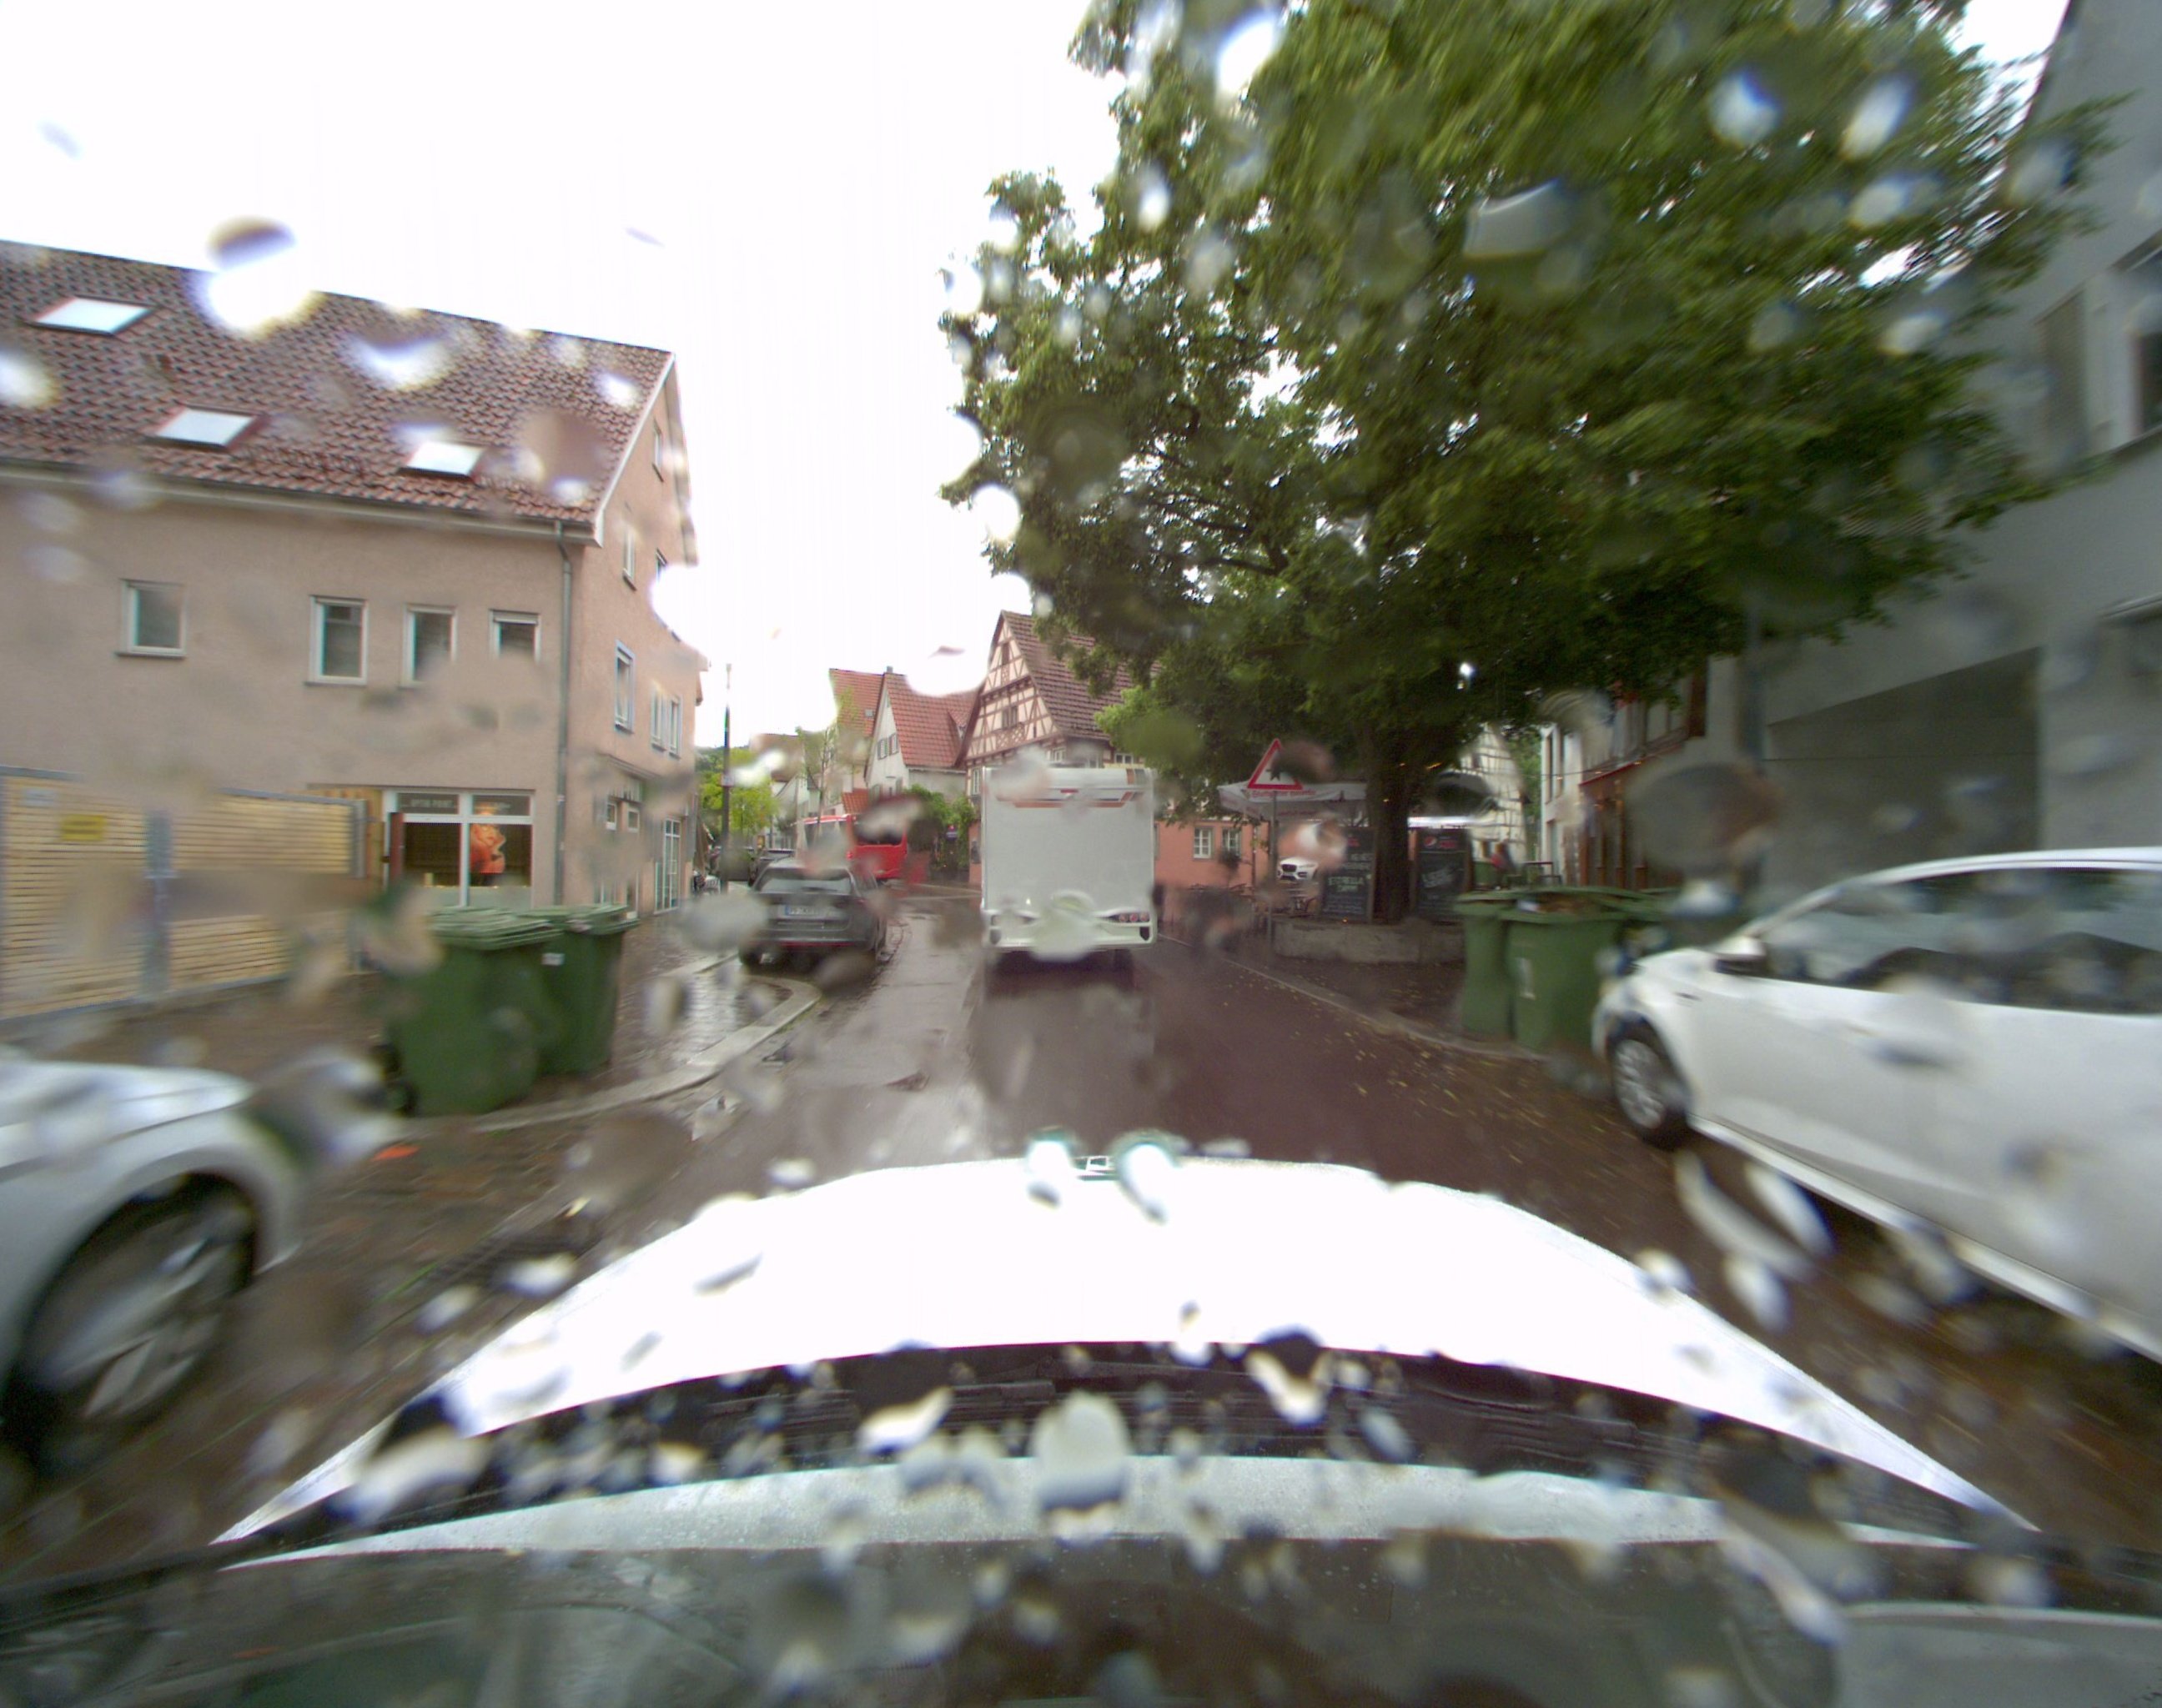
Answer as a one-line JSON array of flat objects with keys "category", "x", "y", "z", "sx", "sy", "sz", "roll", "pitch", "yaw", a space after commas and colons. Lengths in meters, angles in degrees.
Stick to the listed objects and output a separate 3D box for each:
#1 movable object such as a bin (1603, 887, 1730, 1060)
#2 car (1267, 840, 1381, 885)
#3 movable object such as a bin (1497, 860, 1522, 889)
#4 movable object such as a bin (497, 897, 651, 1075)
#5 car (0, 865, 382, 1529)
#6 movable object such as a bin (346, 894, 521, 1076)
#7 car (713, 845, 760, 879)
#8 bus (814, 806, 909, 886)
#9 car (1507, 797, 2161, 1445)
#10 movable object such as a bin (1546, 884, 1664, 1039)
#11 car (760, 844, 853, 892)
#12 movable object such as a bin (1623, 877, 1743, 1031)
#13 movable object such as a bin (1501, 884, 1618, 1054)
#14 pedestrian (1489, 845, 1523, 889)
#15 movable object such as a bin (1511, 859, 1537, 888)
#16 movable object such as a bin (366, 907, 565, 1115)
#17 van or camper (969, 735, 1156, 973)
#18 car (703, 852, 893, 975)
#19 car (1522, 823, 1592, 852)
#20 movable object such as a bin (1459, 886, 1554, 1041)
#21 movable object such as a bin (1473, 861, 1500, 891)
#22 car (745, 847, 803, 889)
[{"category": "movable object such as a bin", "x": 4.146, "y": 0.819, "z": 5.793, "sx": 0.529, "sy": 1.149, "sz": 0.500, "roll": 0, "pitch": -1, "yaw": -4}, {"category": "car", "x": 9.881, "y": 0.308, "z": 33.041, "sx": 4.482, "sy": 1.631, "sz": 1.926, "roll": 0, "pitch": 2, "yaw": -32}, {"category": "movable object such as a bin", "x": 16.171, "y": 0.773, "z": 30.731, "sx": 0.658, "sy": 1.093, "sz": 0.600, "roll": 0, "pitch": -1, "yaw": -31}, {"category": "movable object such as a bin", "x": -3.430, "y": 0.865, "z": 5.558, "sx": 0.657, "sy": 1.109, "sz": 0.623, "roll": 0, "pitch": -1, "yaw": -3}, {"category": "car", "x": -3.117, "y": 0.761, "z": 0.855, "sx": 1.687, "sy": 1.423, "sz": 3.810, "roll": 0, "pitch": 0, "yaw": -5}, {"category": "movable object such as a bin", "x": -4.289, "y": 0.838, "z": 5.441, "sx": 0.657, "sy": 1.109, "sz": 0.623, "roll": 0, "pitch": -1, "yaw": -3}, {"category": "car", "x": -17.792, "y": 0.432, "z": 41.972, "sx": 1.782, "sy": 1.675, "sz": 4.438, "roll": 2, "pitch": -2, "yaw": -28}, {"category": "bus", "x": -9.836, "y": -0.277, "z": 36.022, "sx": 2.656, "sy": 3.227, "sz": 6.541, "roll": 0, "pitch": -1, "yaw": -28}, {"category": "car", "x": 3.503, "y": 0.642, "z": 3.151, "sx": 1.682, "sy": 1.539, "sz": 4.408, "roll": 0, "pitch": -1, "yaw": 4}, {"category": "movable object such as a bin", "x": 4.155, "y": 0.827, "z": 6.487, "sx": 0.543, "sy": 1.149, "sz": 0.585, "roll": 0, "pitch": -1, "yaw": -4}, {"category": "car", "x": -9.463, "y": 0.450, "z": 27.819, "sx": 1.814, "sy": 1.433, "sz": 4.579, "roll": 3, "pitch": -1, "yaw": -34}, {"category": "movable object such as a bin", "x": 4.775, "y": 0.767, "z": 6.484, "sx": 0.502, "sy": 1.149, "sz": 0.580, "roll": 0, "pitch": -1, "yaw": -4}, {"category": "movable object such as a bin", "x": 3.429, "y": 0.798, "z": 5.865, "sx": 0.532, "sy": 1.149, "sz": 0.500, "roll": 0, "pitch": -1, "yaw": -4}, {"category": "pedestrian", "x": 14.754, "y": 0.452, "z": 28.297, "sx": 0.846, "sy": 1.518, "sz": 0.752, "roll": 0, "pitch": -1, "yaw": -38}, {"category": "movable object such as a bin", "x": 16.895, "y": 0.744, "z": 31.065, "sx": 0.658, "sy": 1.093, "sz": 0.600, "roll": 0, "pitch": -1, "yaw": -31}, {"category": "movable object such as a bin", "x": -3.545, "y": 0.879, "z": 4.738, "sx": 0.690, "sy": 1.087, "sz": 0.546, "roll": 2, "pitch": -1, "yaw": -3}, {"category": "van or camper", "x": -0.502, "y": 0.028, "z": 13.304, "sx": 2.322, "sy": 2.919, "sz": 6.380, "roll": 0, "pitch": -1, "yaw": -5}, {"category": "car", "x": -3.901, "y": 0.727, "z": 11.996, "sx": 1.994, "sy": 1.454, "sz": 4.358, "roll": 0, "pitch": -1, "yaw": -11}, {"category": "car", "x": 26.961, "y": -0.898, "z": 46.108, "sx": 4.018, "sy": 1.530, "sz": 1.978, "roll": 0, "pitch": -1, "yaw": -36}, {"category": "movable object such as a bin", "x": 3.371, "y": 0.844, "z": 6.477, "sx": 0.476, "sy": 1.169, "sz": 0.488, "roll": 0, "pitch": -1, "yaw": -4}, {"category": "movable object such as a bin", "x": 14.805, "y": 0.797, "z": 29.747, "sx": 0.658, "sy": 1.093, "sz": 0.600, "roll": 0, "pitch": -1, "yaw": -31}, {"category": "car", "x": -12.042, "y": 0.541, "z": 31.787, "sx": 1.602, "sy": 1.546, "sz": 3.940, "roll": 0, "pitch": -1, "yaw": -28}]
